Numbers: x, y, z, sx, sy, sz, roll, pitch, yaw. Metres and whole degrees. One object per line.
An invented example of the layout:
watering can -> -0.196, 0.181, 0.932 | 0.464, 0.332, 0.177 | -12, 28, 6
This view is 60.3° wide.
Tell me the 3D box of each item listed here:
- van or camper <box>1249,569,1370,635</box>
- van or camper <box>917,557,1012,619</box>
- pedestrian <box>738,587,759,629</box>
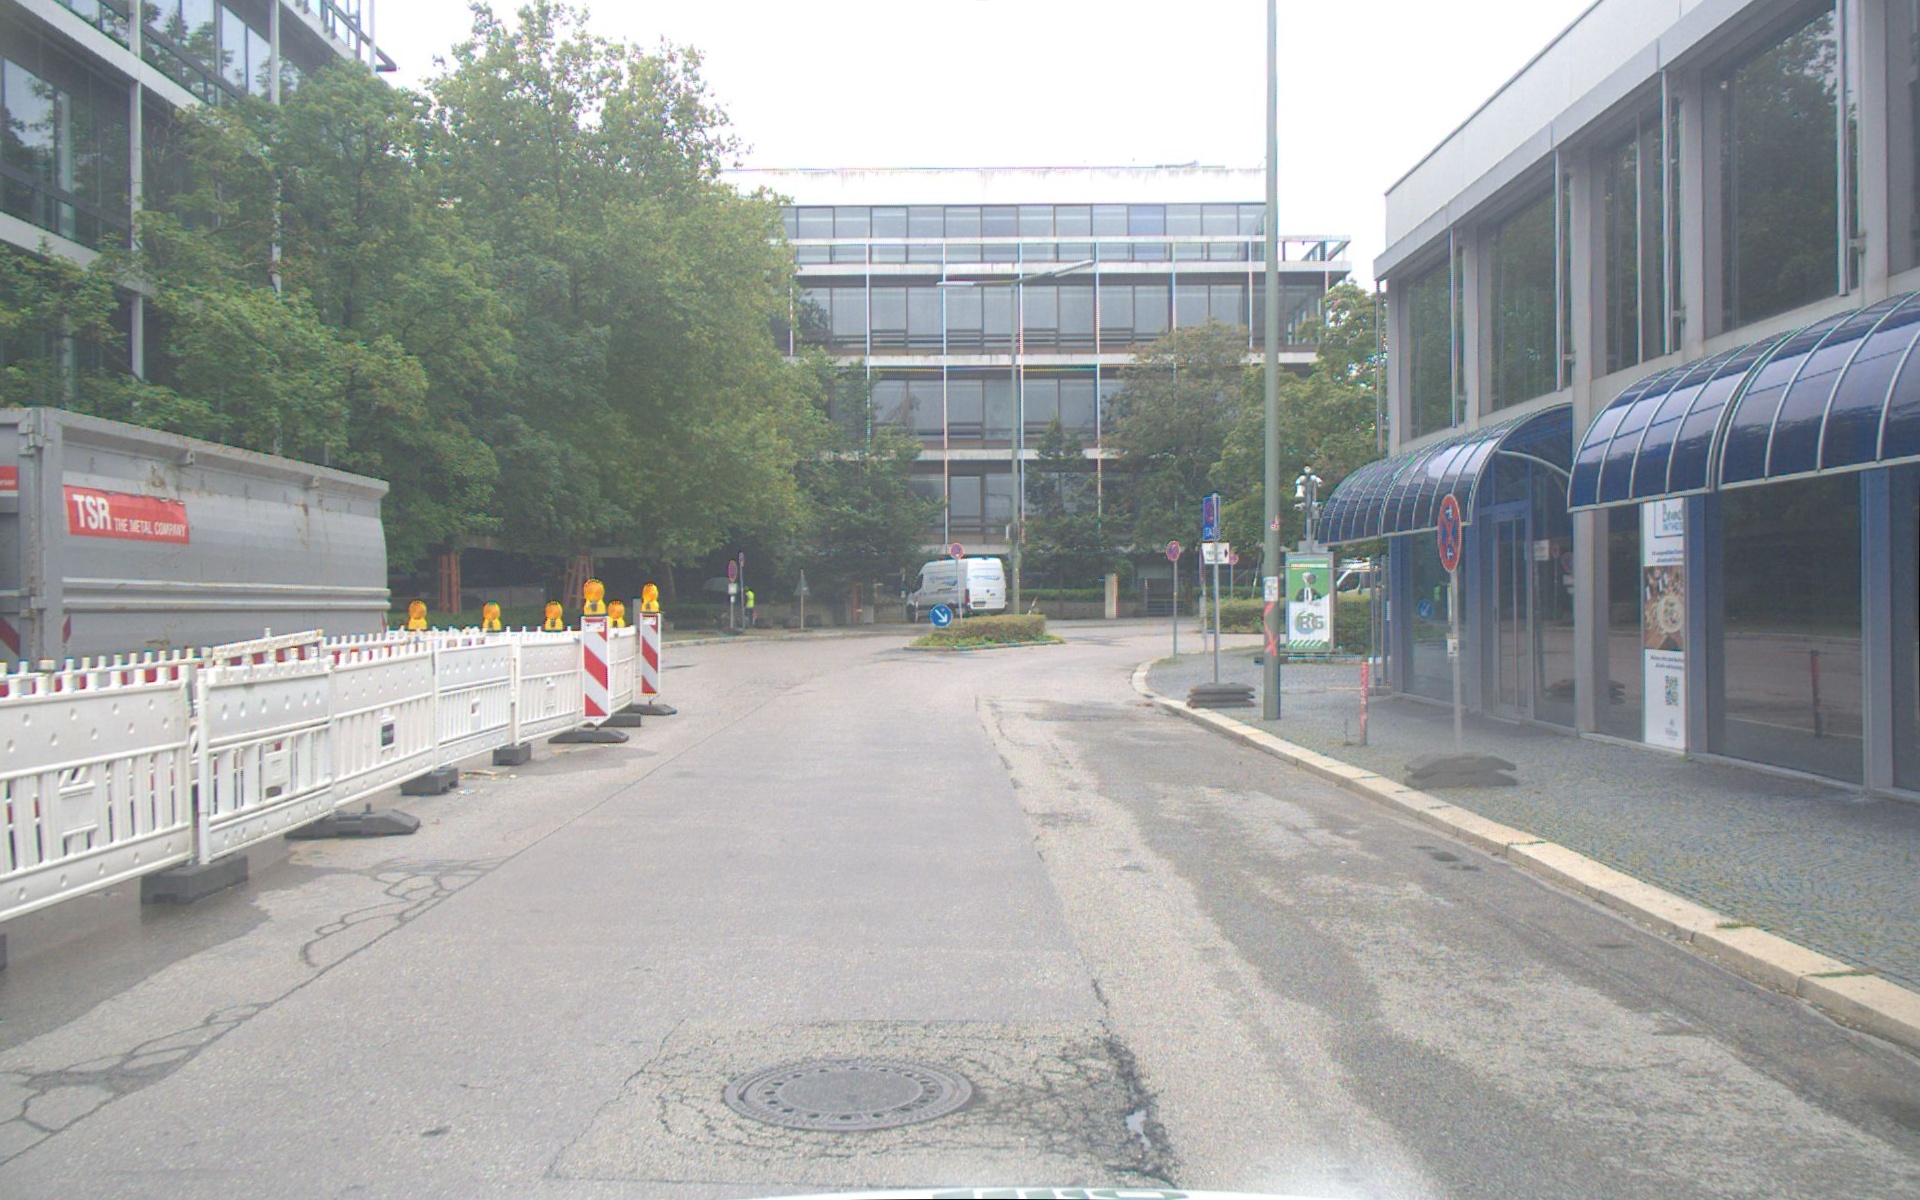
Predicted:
van or camper -> 14.291, 0.068, 67.728 | 4.371, 2.631, 2.103 | -1, 0, -11
van or camper -> 0.133, -0.508, 70.643 | 2.060, 2.535, 5.025 | -1, 0, -26
pedestrian -> -8.841, 0.334, 69.256 | 0.730, 1.706, 0.678 | -1, 0, -20
